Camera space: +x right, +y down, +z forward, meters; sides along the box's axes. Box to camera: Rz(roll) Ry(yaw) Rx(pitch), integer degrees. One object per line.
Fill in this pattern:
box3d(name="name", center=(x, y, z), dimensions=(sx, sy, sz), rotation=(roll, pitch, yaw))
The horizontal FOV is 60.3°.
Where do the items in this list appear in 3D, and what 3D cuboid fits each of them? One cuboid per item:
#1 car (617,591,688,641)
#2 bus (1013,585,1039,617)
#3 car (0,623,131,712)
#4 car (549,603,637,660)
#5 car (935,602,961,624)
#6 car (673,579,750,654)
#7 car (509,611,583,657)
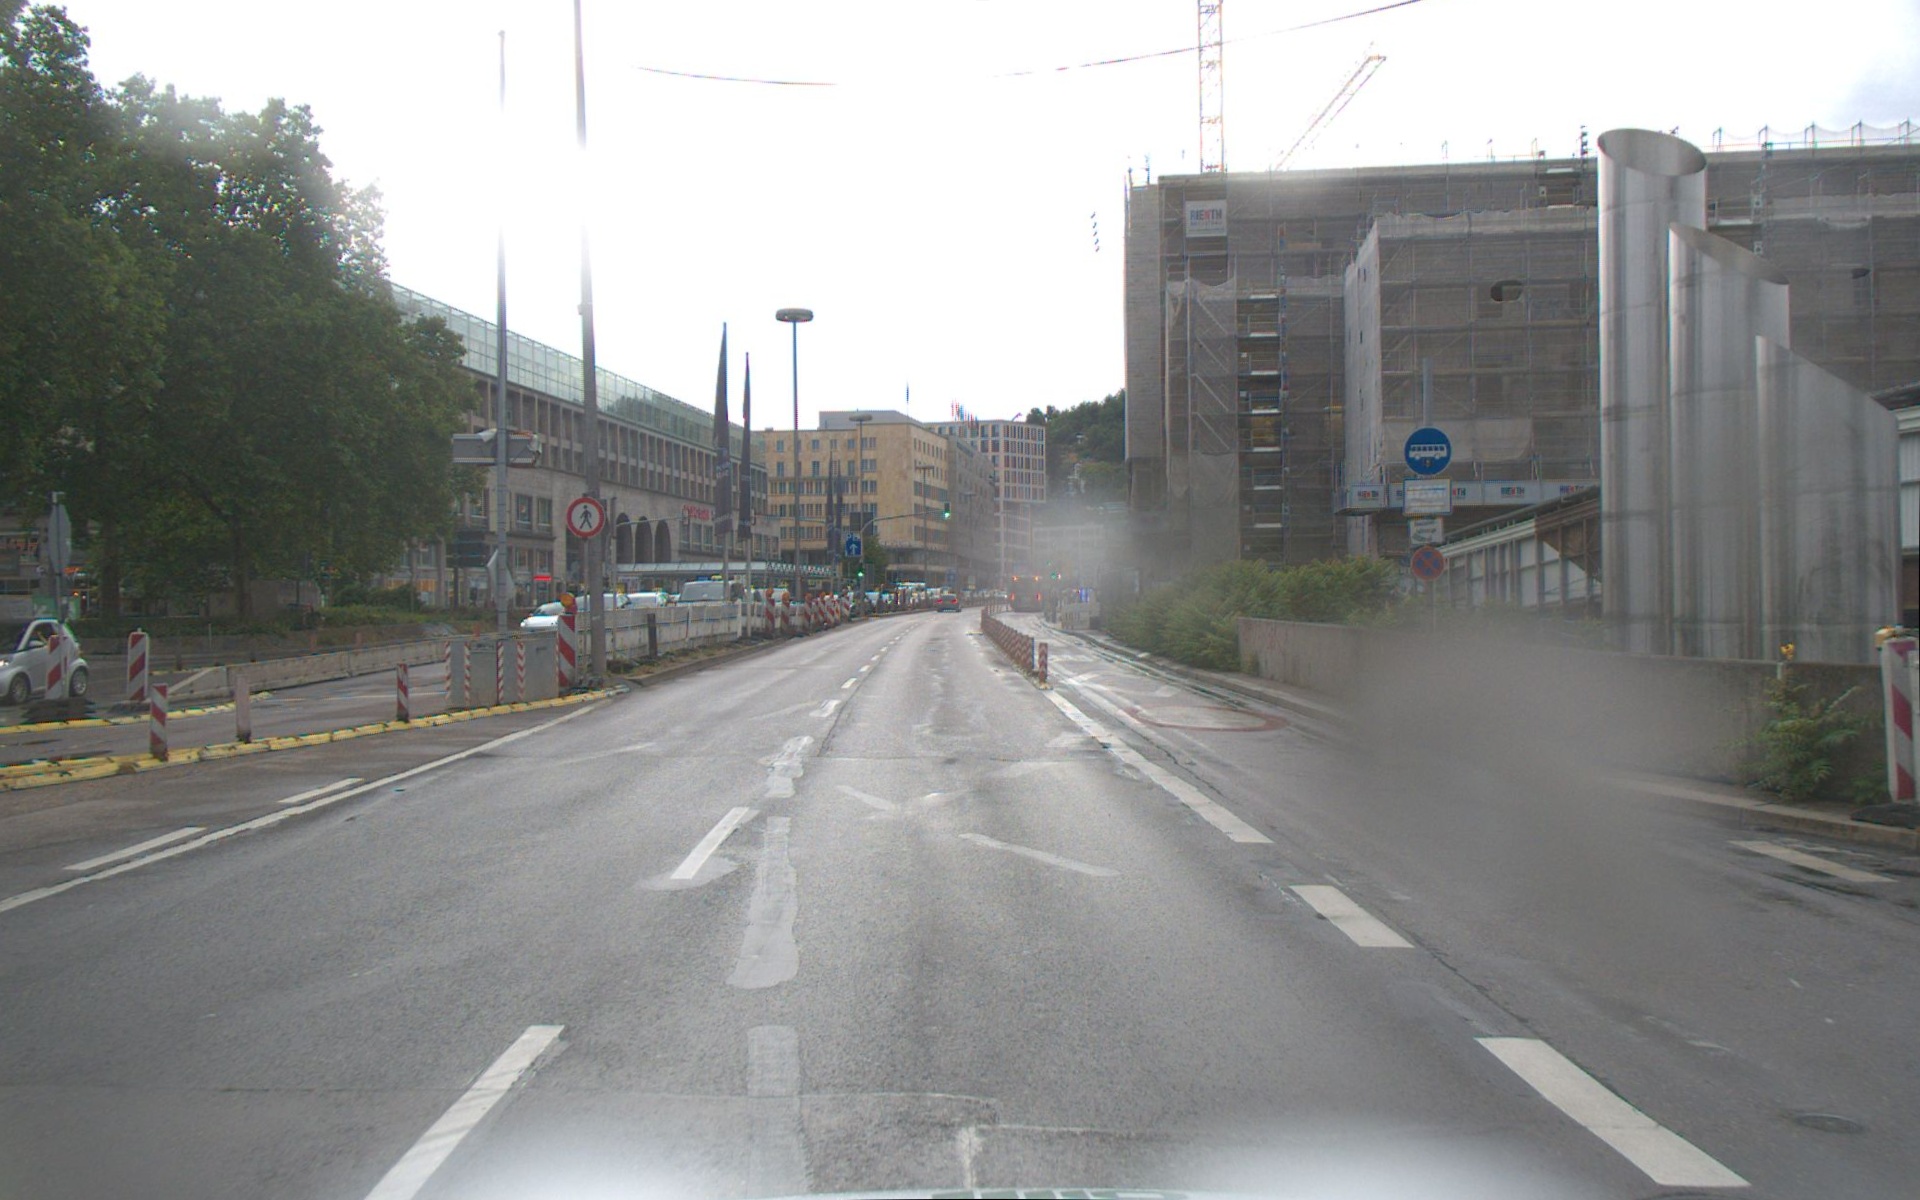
box3d(name="car", center=(-11.055, 0.596, 59.743), dimensions=(1.864, 1.555, 4.174), rotation=(-2, -3, -2))
box3d(name="bus", center=(5.795, 0.099, 144.517), dimensions=(1.951, 2.474, 4.002), rotation=(-3, -3, 5))
box3d(name="car", center=(-17.747, 1.329, 31.541), dimensions=(1.864, 1.555, 4.174), rotation=(-2, -3, -2))
box3d(name="car", center=(-11.265, 1.011, 51.009), dimensions=(1.864, 1.555, 4.174), rotation=(-2, -3, -2))
box3d(name="car", center=(-0.992, 1.056, 134.078), dimensions=(1.864, 1.555, 4.174), rotation=(-2, -3, -2))
box3d(name="car", center=(-7.750, 0.556, 51.849), dimensions=(1.864, 2.119, 4.174), rotation=(-2, -3, -2))
box3d(name="car", center=(-15.740, 1.326, 63.116), dimensions=(1.864, 1.555, 4.174), rotation=(-2, -3, -2))
